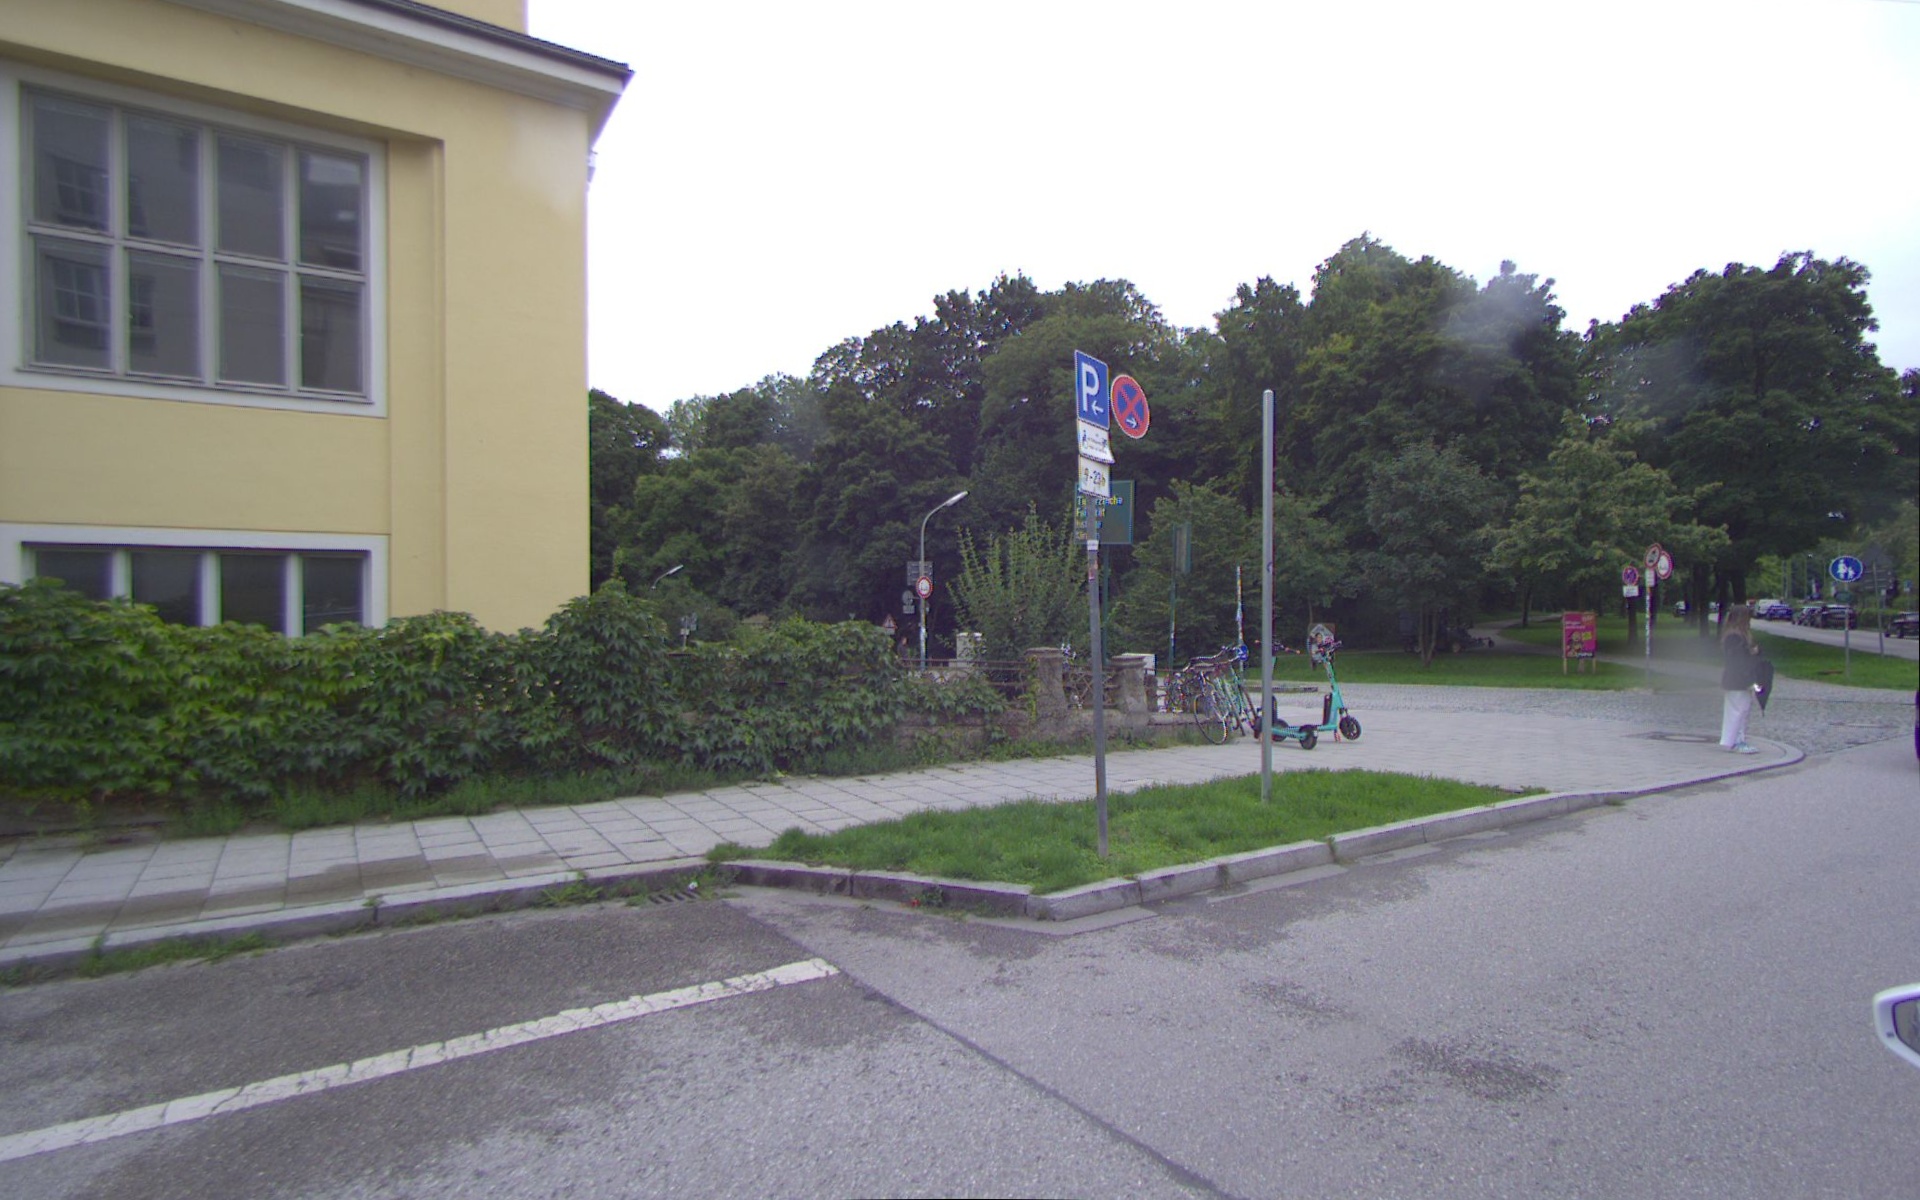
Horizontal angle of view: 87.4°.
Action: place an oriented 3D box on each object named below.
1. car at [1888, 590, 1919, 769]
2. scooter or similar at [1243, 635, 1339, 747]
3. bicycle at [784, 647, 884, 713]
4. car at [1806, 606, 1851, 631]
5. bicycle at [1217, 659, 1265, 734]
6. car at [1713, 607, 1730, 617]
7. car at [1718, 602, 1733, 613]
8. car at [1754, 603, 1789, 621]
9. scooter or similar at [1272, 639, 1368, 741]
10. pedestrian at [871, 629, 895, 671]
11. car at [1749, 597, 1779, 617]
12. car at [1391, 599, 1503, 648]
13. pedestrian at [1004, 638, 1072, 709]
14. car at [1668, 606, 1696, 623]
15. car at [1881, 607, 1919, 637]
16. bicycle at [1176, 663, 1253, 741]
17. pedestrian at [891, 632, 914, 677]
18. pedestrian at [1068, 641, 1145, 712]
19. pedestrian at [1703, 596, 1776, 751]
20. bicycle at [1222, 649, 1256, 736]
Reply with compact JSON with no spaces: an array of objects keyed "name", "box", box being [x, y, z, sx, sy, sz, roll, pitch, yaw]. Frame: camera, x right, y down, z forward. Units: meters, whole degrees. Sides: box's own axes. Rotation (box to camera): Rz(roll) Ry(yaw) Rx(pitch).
[{"name":"car","box":[11.620,0.775,10.586,4.573,1.742,1.979,0,-1,-38]},{"name":"scooter or similar","box":[3.997,1.077,12.193,0.388,1.260,1.258,2,-1,-20]},{"name":"bicycle","box":[-3.601,2.225,28.425,3.107,1.684,1.047,-1,-1,42]},{"name":"car","box":[61.366,1.271,71.060,1.767,1.702,3.990,-1,-1,32]},{"name":"bicycle","box":[4.077,1.383,14.634,0.406,0.990,1.276,-1,-1,4]},{"name":"car","box":[126.835,2.046,167.342,1.971,1.622,4.444,-1,-1,41]},{"name":"car","box":[130.742,1.299,171.534,1.781,1.680,4.230,-1,-1,40]},{"name":"car","box":[75.599,1.081,93.631,1.965,1.622,4.244,0,-1,32]},{"name":"scooter or similar","box":[4.535,1.125,12.673,1.032,1.228,0.439,2,-1,-1]},{"name":"pedestrian","box":[-3.031,1.970,39.516,0.683,1.602,0.746,0,0,-28]},{"name":"car","box":[81.011,0.718,101.233,2.039,1.992,4.960,-1,-1,36]},{"name":"car","box":[20.914,1.023,43.231,3.922,2.040,1.788,-1,-1,-1]},{"name":"pedestrian","box":[1.583,1.475,20.524,1.024,1.353,0.945,0,-1,-39]},{"name":"car","box":[70.159,1.383,97.607,1.966,1.622,4.455,-1,-1,33]},{"name":"car","box":[50.915,1.168,53.955,1.625,1.579,3.548,-1,-1,35]},{"name":"bicycle","box":[3.198,1.252,12.567,0.428,0.905,1.325,0,-2,38]},{"name":"pedestrian","box":[-2.283,2.159,40.056,0.653,1.720,0.745,0,0,-31]},{"name":"pedestrian","box":[2.821,1.446,19.356,1.255,1.285,0.841,0,-1,-39]},{"name":"pedestrian","box":[8.970,0.824,11.558,0.662,1.719,0.537,1,-2,-44]},{"name":"bicycle","box":[3.867,1.264,13.960,0.295,1.126,1.192,1,-1,8]}]
